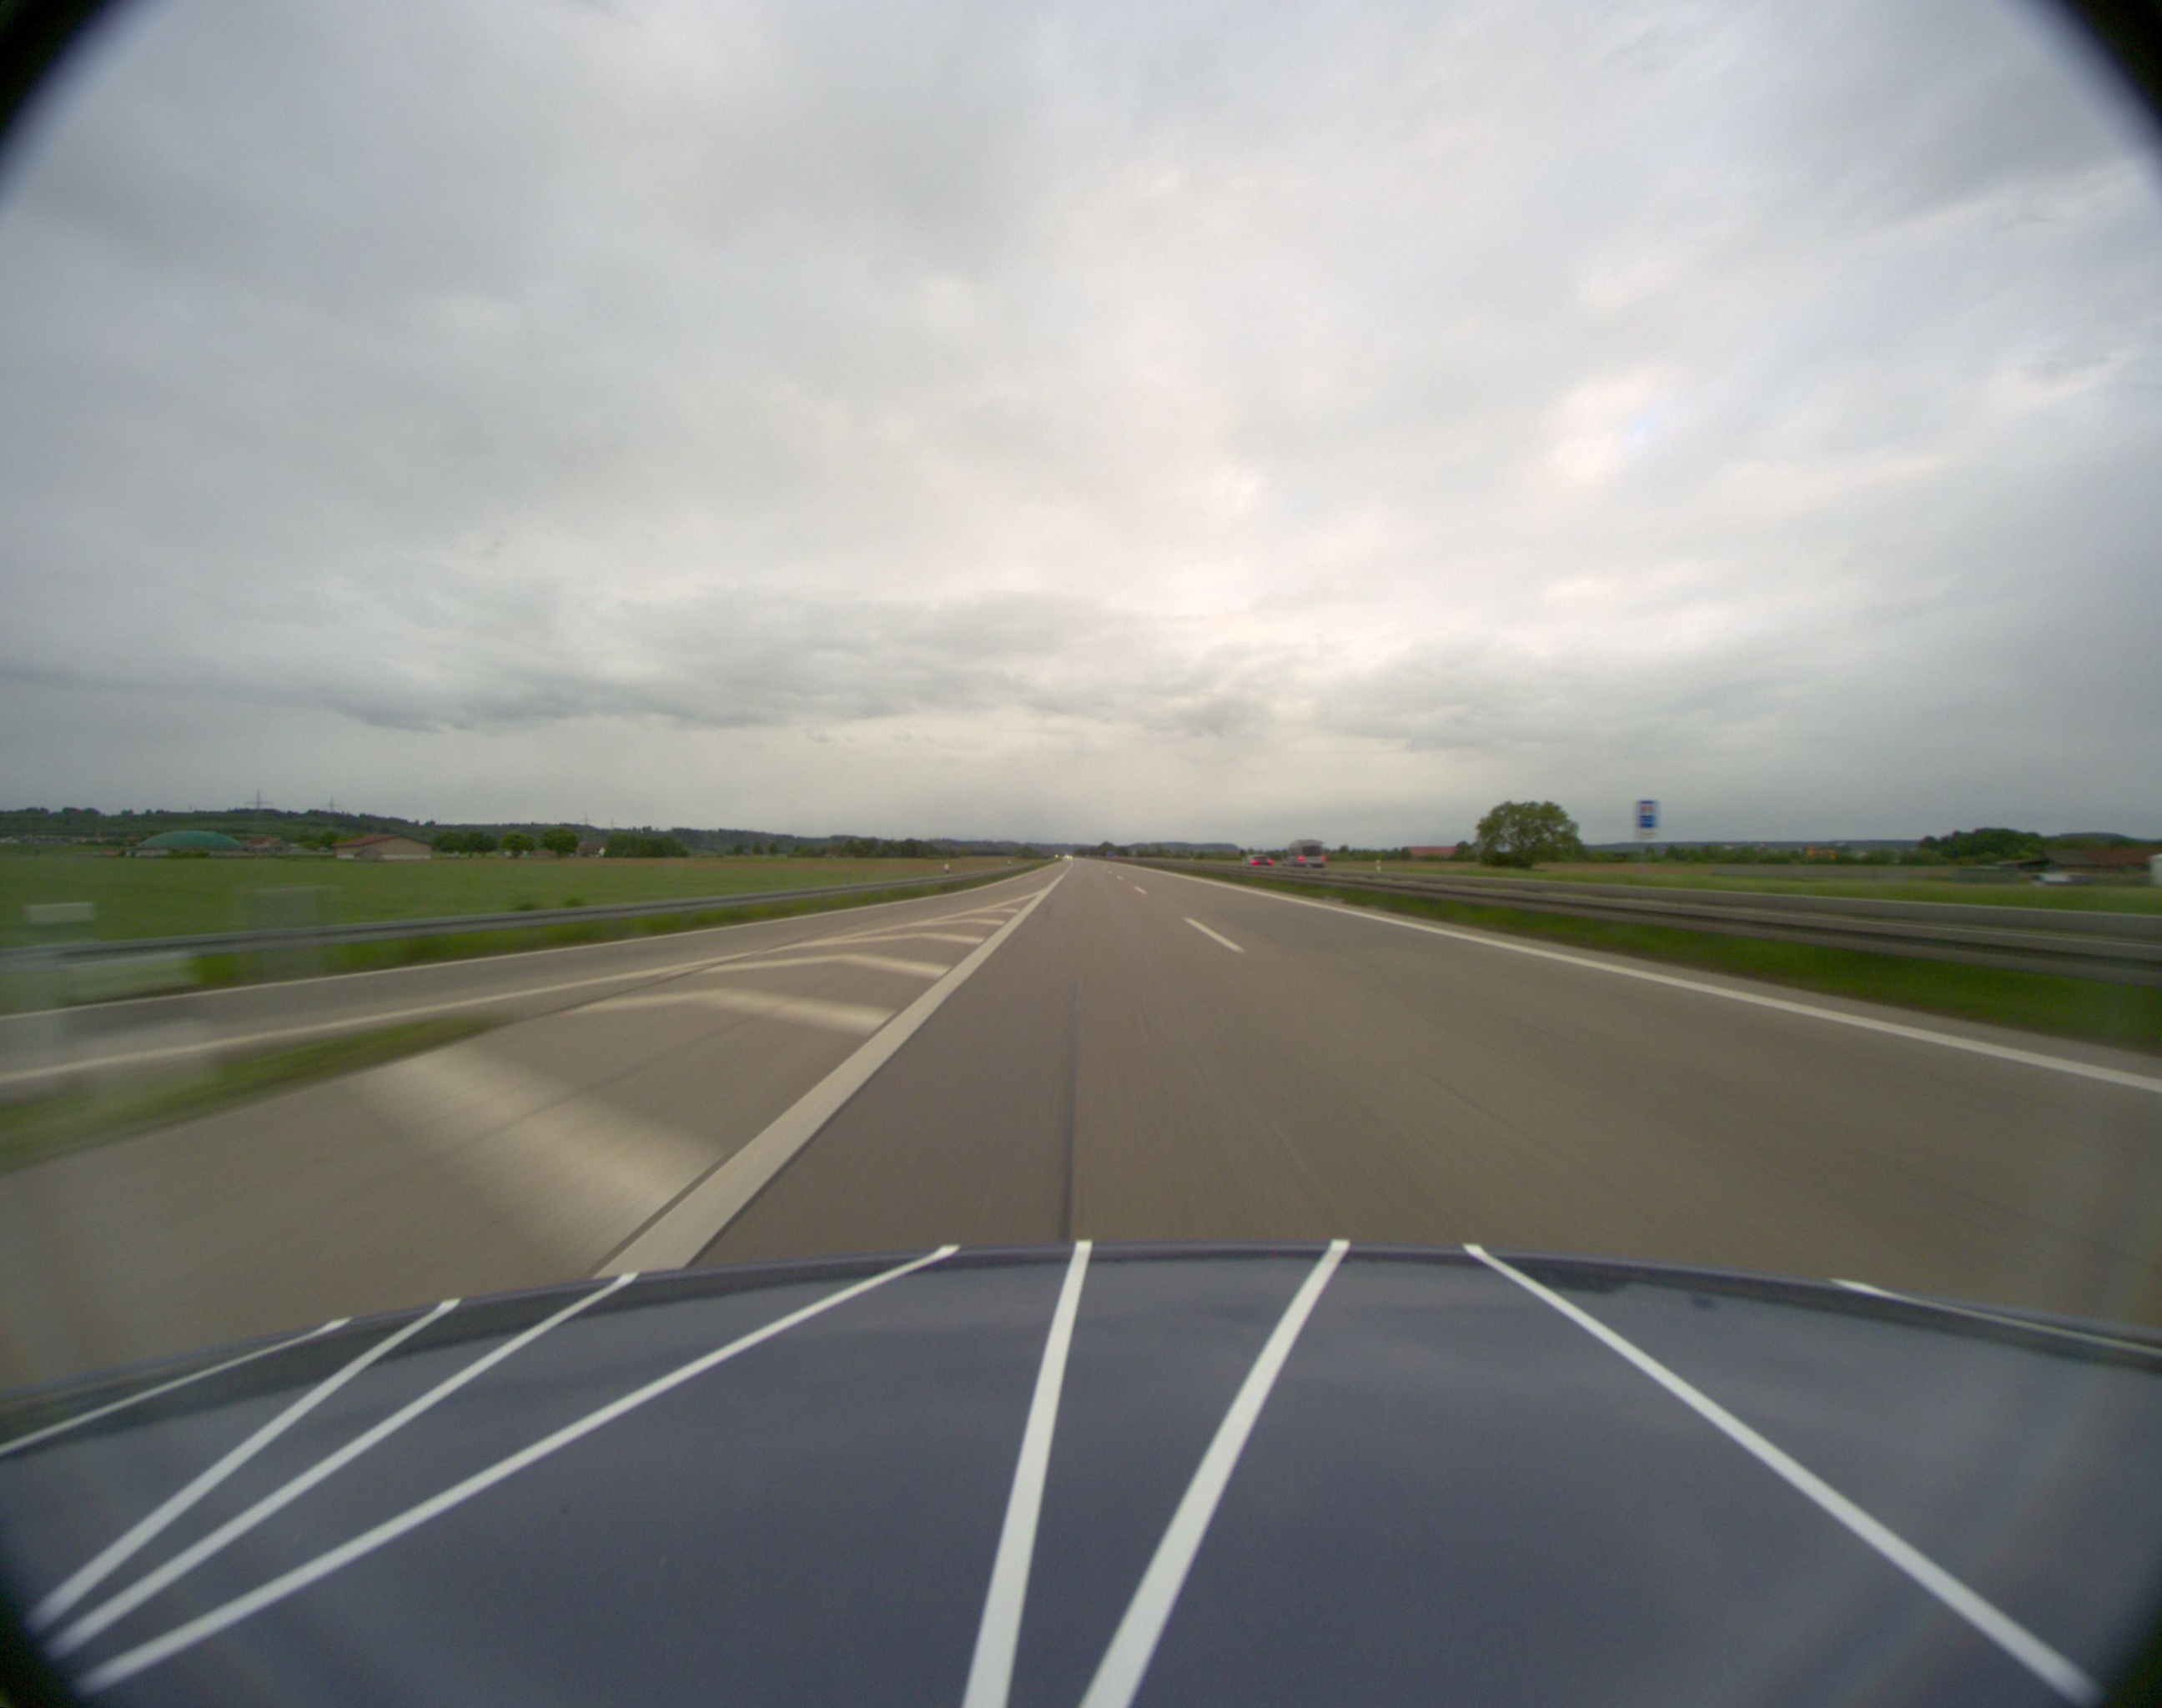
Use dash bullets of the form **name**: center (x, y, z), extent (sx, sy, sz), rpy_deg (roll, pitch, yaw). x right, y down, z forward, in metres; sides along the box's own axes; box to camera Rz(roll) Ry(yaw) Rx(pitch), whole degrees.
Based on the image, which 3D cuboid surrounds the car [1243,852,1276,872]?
- **car**: center (14.535, 0.642, 62.086), extent (1.751, 1.499, 4.200), rpy_deg (-2, 0, 1)

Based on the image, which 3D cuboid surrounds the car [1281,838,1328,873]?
- **car**: center (18.717, 0.129, 64.014), extent (2.111, 2.784, 6.427), rpy_deg (-2, 0, 1)
